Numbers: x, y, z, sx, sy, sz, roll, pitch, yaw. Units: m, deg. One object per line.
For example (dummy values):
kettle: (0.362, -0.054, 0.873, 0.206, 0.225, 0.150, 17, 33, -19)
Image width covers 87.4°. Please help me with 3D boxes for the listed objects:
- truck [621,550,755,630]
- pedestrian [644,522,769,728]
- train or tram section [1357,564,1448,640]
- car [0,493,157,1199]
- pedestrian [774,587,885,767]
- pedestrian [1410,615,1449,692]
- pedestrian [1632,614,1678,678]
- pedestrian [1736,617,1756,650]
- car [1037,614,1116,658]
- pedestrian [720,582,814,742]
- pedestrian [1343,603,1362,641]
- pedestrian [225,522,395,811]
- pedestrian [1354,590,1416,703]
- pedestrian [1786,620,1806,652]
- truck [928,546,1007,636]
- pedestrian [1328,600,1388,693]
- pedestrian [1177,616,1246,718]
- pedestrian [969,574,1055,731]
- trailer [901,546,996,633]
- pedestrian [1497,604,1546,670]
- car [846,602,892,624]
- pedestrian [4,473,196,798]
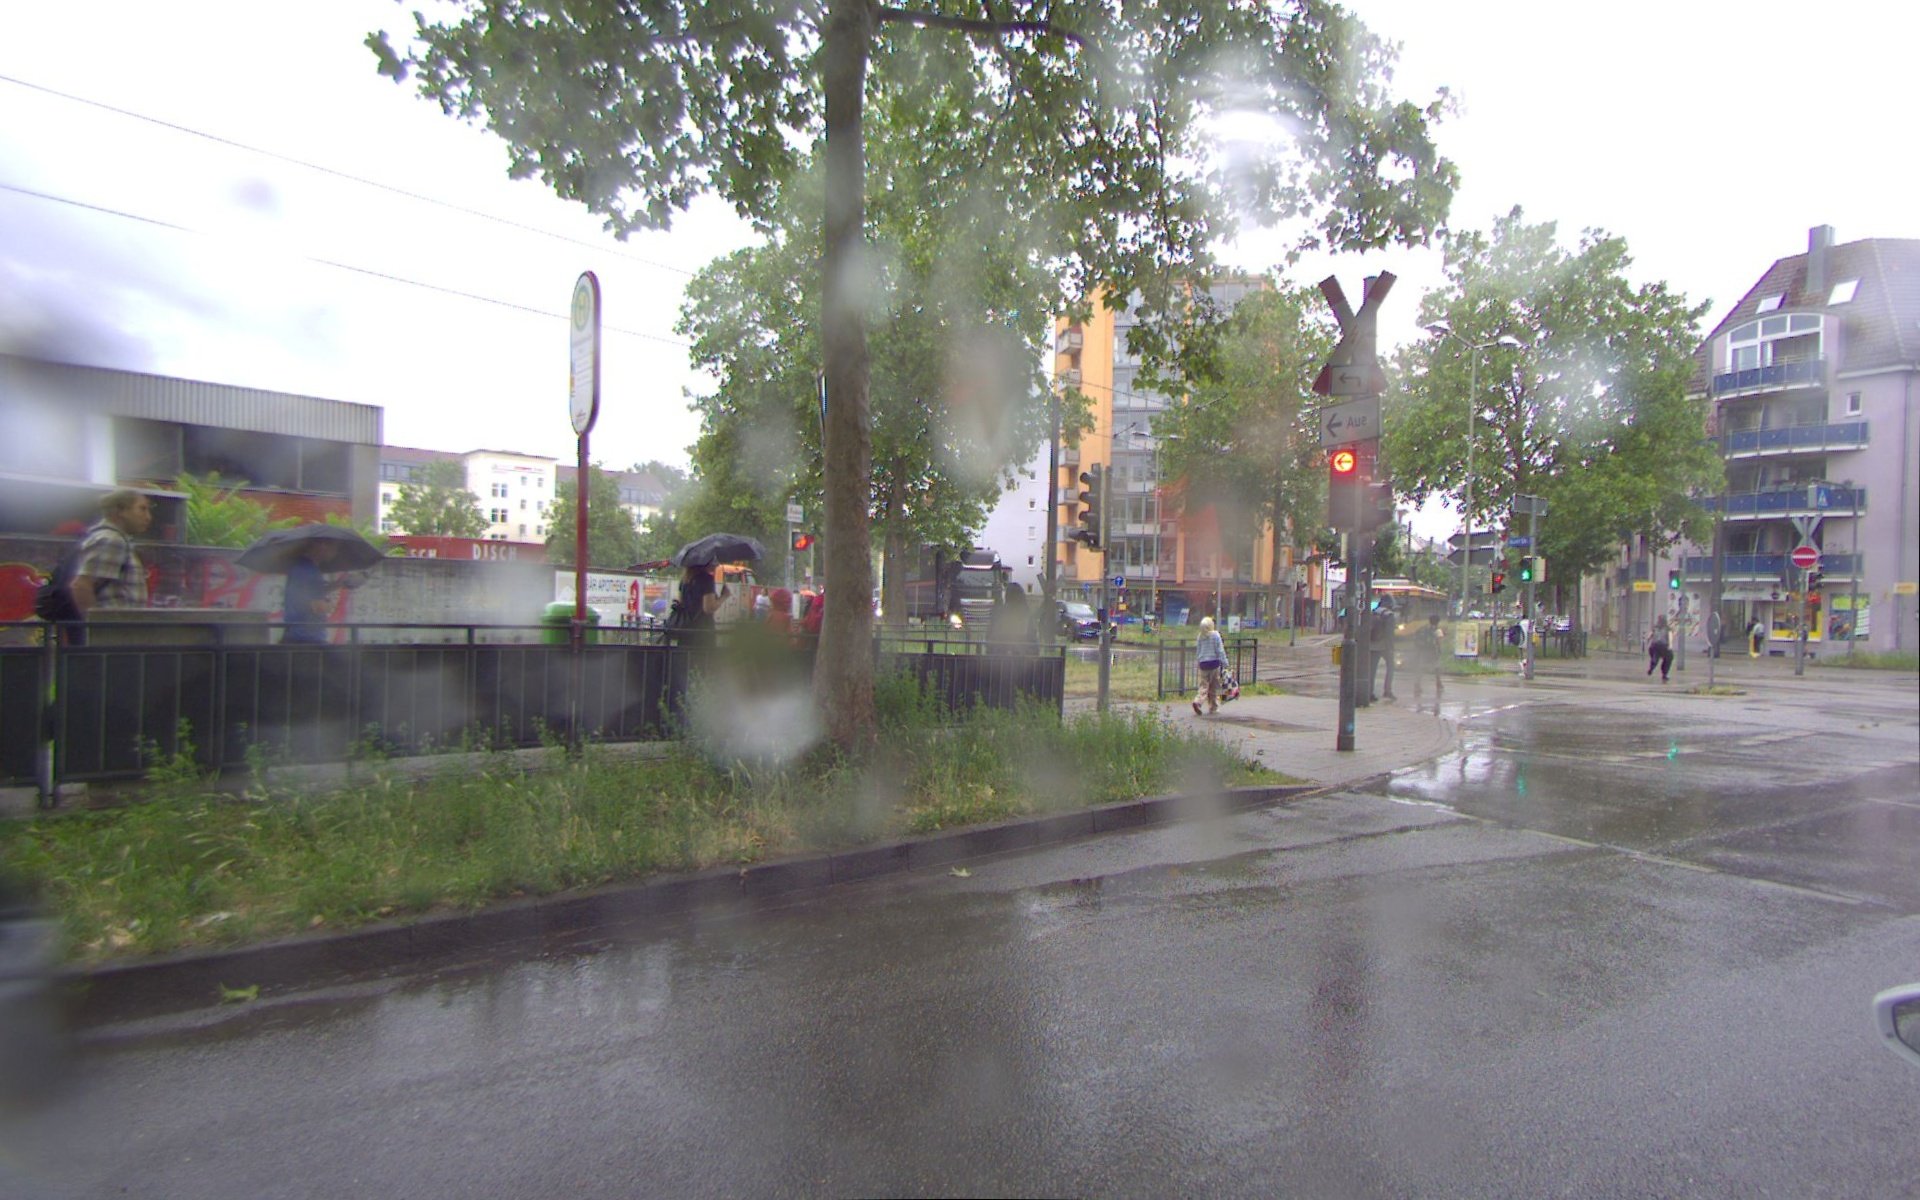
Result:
truck: (-11.753, -0.411, 43.617, 5.383, 3.205, 2.164, 2, 0, -16)
pedestrian: (-2.215, 0.218, 8.802, 0.783, 1.705, 0.659, -2, 0, 23)
train or tram section: (26.247, 0.254, 58.925, 2.839, 3.818, 17.211, 2, 0, 30)
car: (-3.590, 0.594, 0.941, 4.187, 1.612, 1.742, 1, -1, -31)
pedestrian: (-1.266, 0.706, 9.745, 0.811, 1.646, 0.723, 0, 0, -41)
pedestrian: (8.858, 0.988, 18.946, 0.638, 1.414, 0.782, 1, 0, 26)
pedestrian: (17.346, 1.133, 25.087, 0.785, 1.553, 0.743, 2, 0, -41)
pedestrian: (35.549, 1.524, 45.433, 0.553, 1.477, 0.443, 2, 0, -23)
car: (4.637, 1.405, 40.426, 1.585, 1.551, 4.017, 1, 1, -19)
pedestrian: (-1.957, 0.601, 10.181, 0.654, 1.540, 0.675, 1, 0, -42)
pedestrian: (23.085, 1.289, 59.030, 0.871, 2.179, 0.910, 2, 0, 29)
pedestrian: (-4.651, 0.433, 7.182, 0.885, 1.889, 0.861, 1, 1, -42)
pedestrian: (7.342, 0.783, 17.368, 0.778, 1.880, 0.678, 2, 1, 41)
pedestrian: (36.348, 1.554, 43.686, 0.553, 1.347, 0.443, 2, 0, -23)
truck: (0.274, -0.399, 46.059, 2.593, 3.842, 4.444, 2, 0, -13)
pedestrian: (8.019, 0.922, 20.225, 0.943, 1.789, 0.951, 2, 0, 31)
pedestrian: (3.558, 0.924, 14.191, 0.704, 1.367, 0.650, 1, 1, -44)
pedestrian: (0.605, 0.581, 11.491, 0.823, 1.722, 0.689, -1, 0, 17)
trailer: (-0.819, -0.475, 50.750, 2.593, 3.899, 10.114, 2, 0, -13)
pedestrian: (14.141, 0.931, 25.297, 0.956, 1.622, 0.670, 2, 0, -30)
car: (-8.251, 1.155, 90.938, 3.930, 1.808, 1.996, 2, 0, -12)
pedestrian: (-5.213, 0.193, 6.095, 0.825, 1.778, 0.856, 1, 1, -43)
